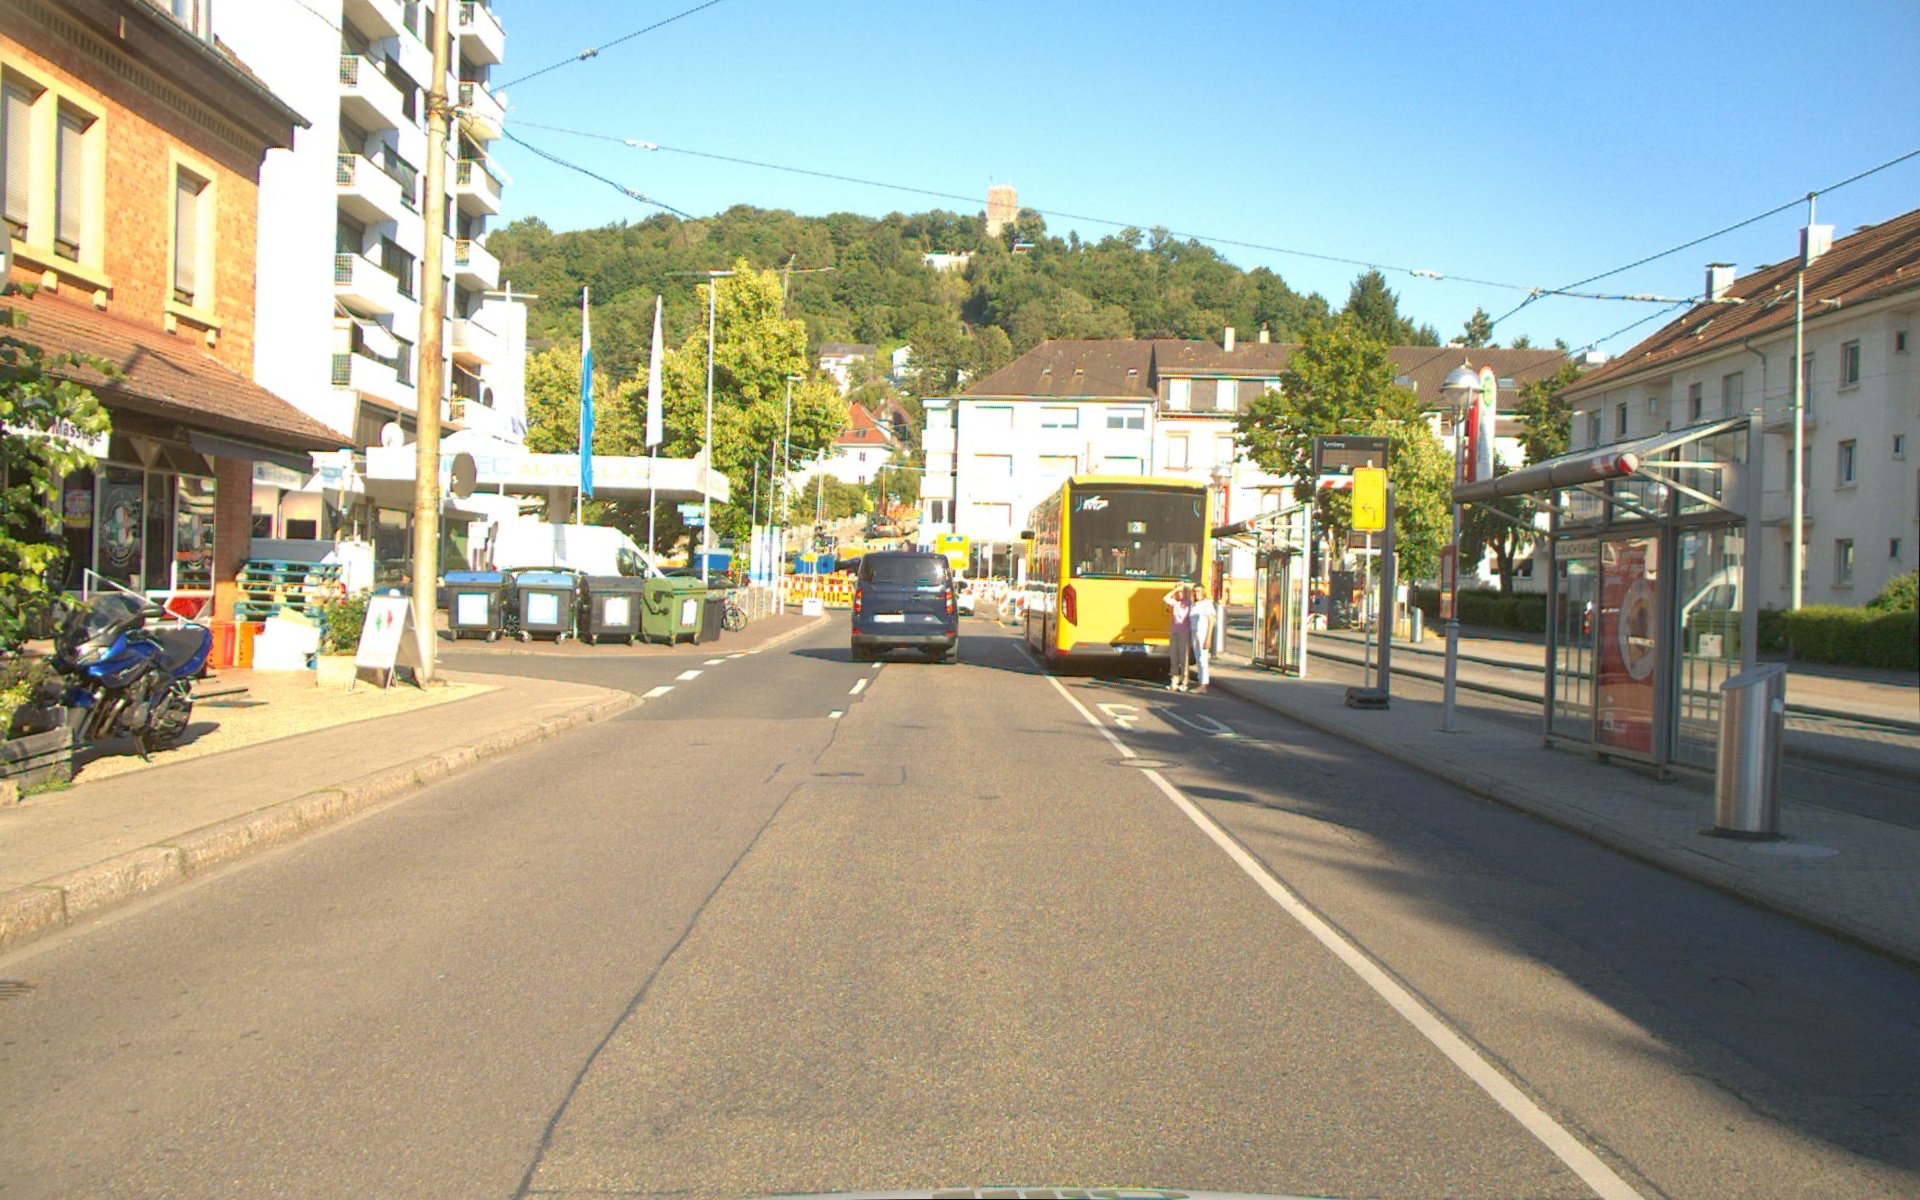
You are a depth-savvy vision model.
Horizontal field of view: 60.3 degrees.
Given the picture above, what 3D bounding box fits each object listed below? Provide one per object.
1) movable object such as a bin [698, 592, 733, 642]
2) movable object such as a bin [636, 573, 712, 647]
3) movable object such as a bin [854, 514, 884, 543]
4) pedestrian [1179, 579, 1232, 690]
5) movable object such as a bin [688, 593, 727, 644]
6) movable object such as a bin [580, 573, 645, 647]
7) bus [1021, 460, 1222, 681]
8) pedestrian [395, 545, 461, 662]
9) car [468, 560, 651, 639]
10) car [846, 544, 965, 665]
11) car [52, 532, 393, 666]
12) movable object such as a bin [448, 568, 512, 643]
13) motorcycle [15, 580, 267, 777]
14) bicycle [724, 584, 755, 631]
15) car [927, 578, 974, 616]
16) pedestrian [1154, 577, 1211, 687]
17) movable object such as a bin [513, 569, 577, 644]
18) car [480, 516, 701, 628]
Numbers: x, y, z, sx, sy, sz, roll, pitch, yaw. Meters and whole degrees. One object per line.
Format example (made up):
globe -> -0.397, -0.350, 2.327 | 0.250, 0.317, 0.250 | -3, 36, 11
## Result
movable object such as a bin -> -5.599, 0.392, 37.891 | 0.626, 1.088, 0.581 | 2, 4, 12
movable object such as a bin -> -6.281, 0.199, 36.347 | 1.035, 1.508, 1.311 | 3, 4, 28
movable object such as a bin -> -9.249, -7.297, 168.582 | 2.144, 2.737, 4.004 | 1, 1, 11
pedestrian -> 3.700, 0.519, 24.949 | 0.540, 1.641, 0.542 | 1, 0, -38
movable object such as a bin -> -5.689, 0.419, 37.271 | 0.646, 1.081, 0.585 | 4, 3, 12
movable object such as a bin -> -7.419, 0.200, 35.332 | 1.205, 1.508, 0.697 | 0, 4, -30
bus -> 2.817, -0.572, 32.564 | 2.633, 3.475, 12.018 | 1, 1, 0
pedestrian -> -8.824, 0.046, 27.479 | 0.801, 1.900, 0.795 | 1, 1, 0
car -> -9.146, -0.015, 37.849 | 3.921, 1.595, 1.766 | 2, 1, -15
car -> -0.978, 0.070, 31.670 | 2.020, 2.049, 4.999 | 2, 0, -1
car -> -11.695, -0.018, 26.480 | 4.522, 1.967, 1.999 | 1, 0, -3
movable object such as a bin -> -10.104, 0.112, 34.837 | 1.155, 1.508, 0.704 | 1, 3, -5
motorcycle -> -6.016, 0.526, 12.326 | 0.822, 1.304, 2.231 | 2, 0, -3
bicycle -> -5.771, 0.182, 43.188 | 0.710, 1.198, 1.777 | 1, 0, -10
car -> -0.345, -0.131, 65.282 | 1.757, 1.434, 4.001 | 1, 0, 1
pedestrian -> 3.391, 0.483, 25.244 | 0.540, 1.641, 0.627 | 1, 0, -38
movable object such as a bin -> -8.768, 0.128, 34.999 | 1.194, 1.508, 0.704 | 1, 3, -5
car -> -9.125, -0.659, 40.820 | 4.985, 2.512, 2.095 | 2, 0, -23
